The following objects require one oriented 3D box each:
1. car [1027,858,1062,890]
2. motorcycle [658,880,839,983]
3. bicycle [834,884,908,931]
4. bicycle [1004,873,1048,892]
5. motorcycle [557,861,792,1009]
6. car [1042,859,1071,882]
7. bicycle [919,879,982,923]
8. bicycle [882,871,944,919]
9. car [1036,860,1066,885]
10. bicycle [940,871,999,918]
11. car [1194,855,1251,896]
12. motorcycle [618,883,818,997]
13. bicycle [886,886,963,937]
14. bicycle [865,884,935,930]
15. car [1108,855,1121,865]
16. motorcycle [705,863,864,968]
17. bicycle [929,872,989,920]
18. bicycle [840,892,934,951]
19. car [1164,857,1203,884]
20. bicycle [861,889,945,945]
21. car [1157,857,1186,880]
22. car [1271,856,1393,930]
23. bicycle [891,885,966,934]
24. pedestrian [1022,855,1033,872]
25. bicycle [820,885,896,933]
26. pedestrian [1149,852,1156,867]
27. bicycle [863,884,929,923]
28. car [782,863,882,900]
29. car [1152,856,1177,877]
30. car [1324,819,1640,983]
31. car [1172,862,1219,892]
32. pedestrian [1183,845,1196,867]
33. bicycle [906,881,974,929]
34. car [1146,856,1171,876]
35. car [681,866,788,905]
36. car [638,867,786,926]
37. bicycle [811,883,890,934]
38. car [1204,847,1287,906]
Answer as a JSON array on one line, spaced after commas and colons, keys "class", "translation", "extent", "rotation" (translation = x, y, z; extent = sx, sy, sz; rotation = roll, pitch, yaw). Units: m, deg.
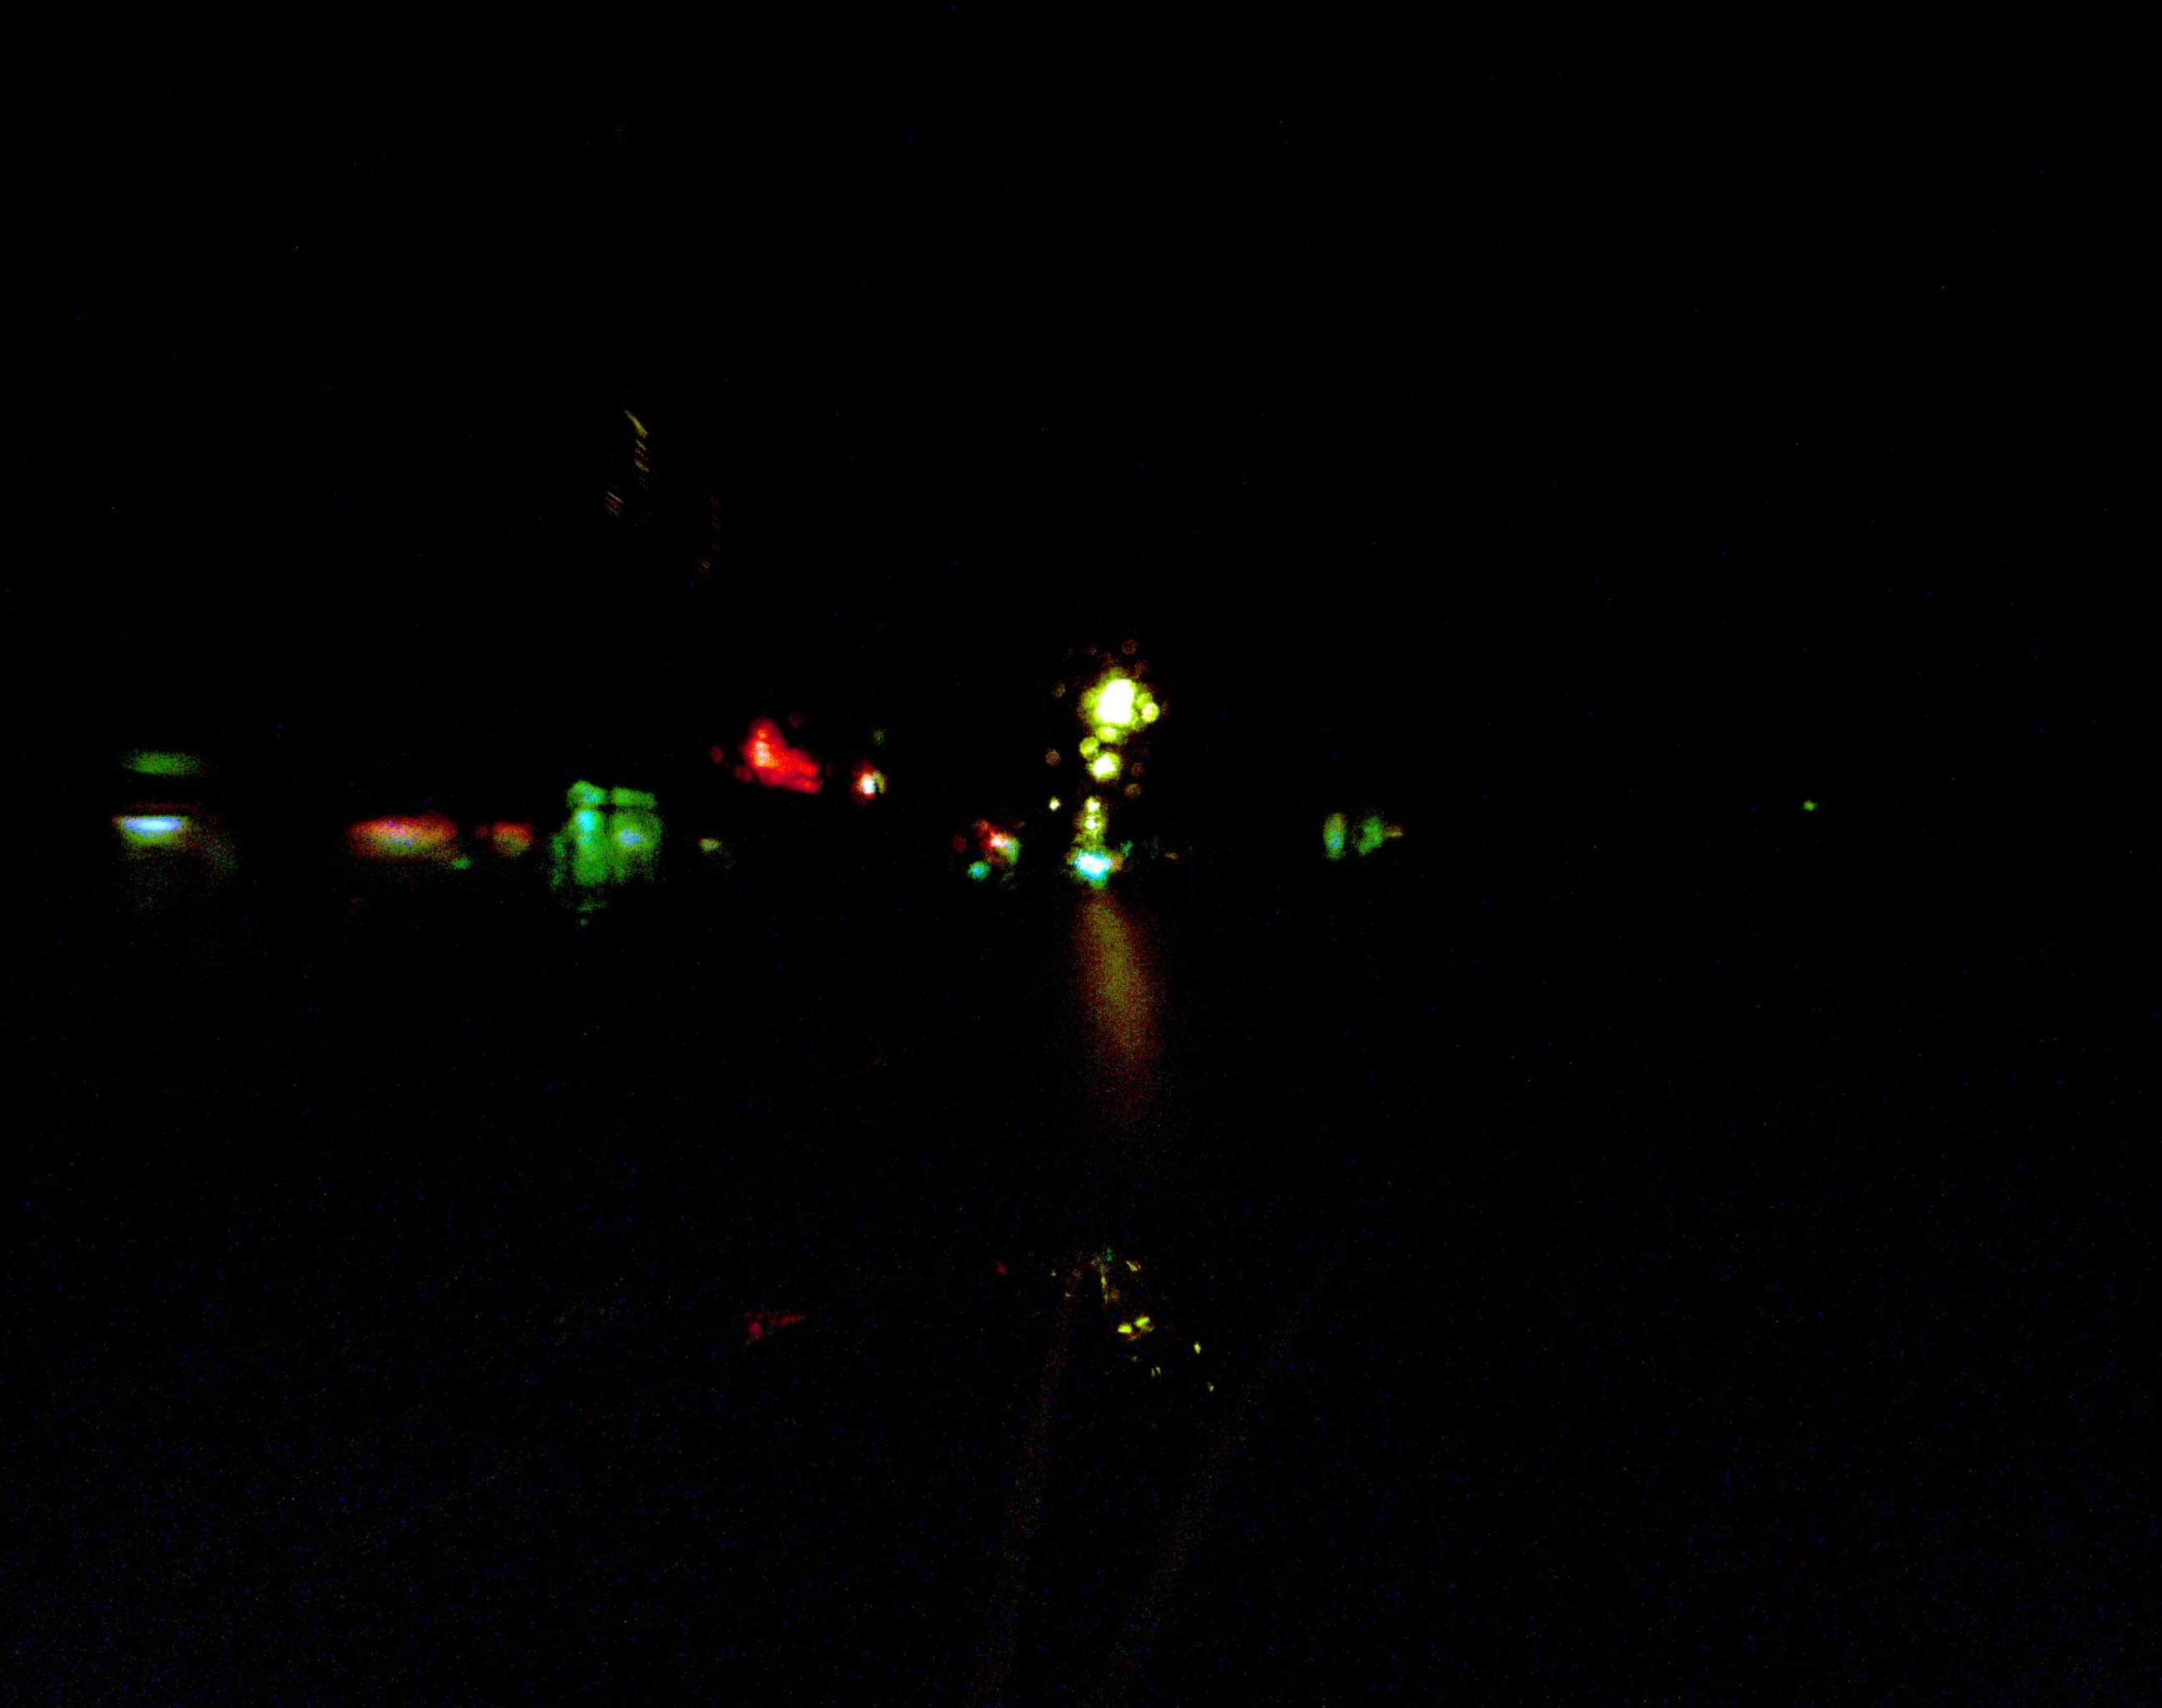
[{"class": "car", "translation": [-2.047, 1.115, 43.295], "extent": [1.676, 1.712, 3.857], "rotation": [-1, 0, 1]}, {"class": "motorcycle", "translation": [-4.750, 1.090, 10.971], "extent": [2.178, 1.311, 0.867], "rotation": [3, 1, 0]}, {"class": "bicycle", "translation": [-4.817, 1.231, 17.468], "extent": [1.533, 0.947, 0.366], "rotation": [4, 1, -3]}, {"class": "bicycle", "translation": [-2.768, 1.416, 38.141], "extent": [2.267, 0.889, 0.619], "rotation": [-1, 0, 30]}, {"class": "motorcycle", "translation": [-4.805, 0.924, 9.095], "extent": [2.294, 1.579, 0.867], "rotation": [3, 1, 0]}, {"class": "car", "translation": [-1.700, 1.156, 54.771], "extent": [1.846, 1.498, 4.162], "rotation": [-1, 0, 1]}, {"class": "bicycle", "translation": [-3.424, 1.240, 20.022], "extent": [1.532, 1.018, 0.366], "rotation": [4, 1, -1]}, {"class": "bicycle", "translation": [-4.560, 1.114, 20.685], "extent": [1.532, 1.195, 0.366], "rotation": [4, 1, -1]}, {"class": "car", "translation": [-1.914, 1.151, 49.415], "extent": [1.689, 1.498, 4.162], "rotation": [-1, 0, 1]}, {"class": "bicycle", "translation": [-3.161, 1.157, 21.600], "extent": [1.532, 1.195, 0.366], "rotation": [4, 1, 3]}, {"class": "car", "translation": [5.828, 0.857, 31.699], "extent": [1.731, 1.565, 3.720], "rotation": [-2, 0, 1]}, {"class": "motorcycle", "translation": [-4.737, 1.101, 10.039], "extent": [2.178, 1.311, 0.867], "rotation": [3, 1, 0]}, {"class": "bicycle", "translation": [-3.365, 1.236, 16.396], "extent": [1.533, 0.947, 0.366], "rotation": [4, 1, -3]}, {"class": "bicycle", "translation": [-4.354, 1.272, 18.281], "extent": [1.532, 0.947, 0.366], "rotation": [4, 1, 5]}, {"class": "car", "translation": [5.248, 0.926, 118.152], "extent": [1.877, 1.386, 4.075], "rotation": [-2, -1, 4]}, {"class": "motorcycle", "translation": [-4.761, 0.972, 12.306], "extent": [2.178, 1.538, 0.867], "rotation": [3, 1, 0]}, {"class": "bicycle", "translation": [-3.392, 1.174, 21.152], "extent": [1.532, 1.195, 0.366], "rotation": [4, 1, -1]}, {"class": "bicycle", "translation": [-3.681, 1.265, 14.432], "extent": [1.672, 0.947, 0.366], "rotation": [4, 1, 8]}, {"class": "car", "translation": [5.913, 0.951, 44.315], "extent": [1.731, 1.445, 4.273], "rotation": [-2, 0, 1]}, {"class": "bicycle", "translation": [-3.535, 1.235, 15.079], "extent": [1.531, 0.947, 0.366], "rotation": [4, 1, 8]}, {"class": "car", "translation": [5.917, 0.949, 49.959], "extent": [1.531, 1.445, 3.384], "rotation": [-2, 0, 1]}, {"class": "car", "translation": [5.511, 0.791, 17.136], "extent": [1.573, 1.451, 3.720], "rotation": [-2, 0, 1]}, {"class": "bicycle", "translation": [-3.364, 1.217, 16.825], "extent": [1.533, 0.947, 0.366], "rotation": [4, 1, -3]}, {"class": "pedestrian", "translation": [-5.332, 0.918, 76.011], "extent": [1.007, 1.698, 0.614], "rotation": [-1, 0, 1]}, {"class": "bicycle", "translation": [-4.987, 1.227, 17.034], "extent": [1.533, 0.947, 0.366], "rotation": [4, 1, -4]}, {"class": "pedestrian", "translation": [9.822, 0.797, 104.392], "extent": [0.776, 2.002, 0.587], "rotation": [-4, 1, 1]}, {"class": "bicycle", "translation": [-4.672, 1.246, 19.185], "extent": [1.532, 0.829, 0.325], "rotation": [4, 1, 5]}, {"class": "car", "translation": [-11.619, 1.259, 35.627], "extent": [3.996, 1.476, 1.895], "rotation": [-3, 0, 2]}, {"class": "car", "translation": [6.133, 0.962, 56.140], "extent": [1.696, 1.470, 3.386], "rotation": [-2, -1, 5]}, {"class": "car", "translation": [5.408, 0.555, 11.270], "extent": [2.001, 1.818, 5.207], "rotation": [-2, 0, 1]}, {"class": "car", "translation": [5.729, 1.121, 38.436], "extent": [1.731, 1.384, 4.555], "rotation": [-2, 0, 1]}, {"class": "pedestrian", "translation": [9.111, 0.199, 63.739], "extent": [0.912, 1.777, 0.629], "rotation": [-4, 1, 2]}, {"class": "bicycle", "translation": [-3.473, 1.249, 18.716], "extent": [1.532, 1.018, 0.366], "rotation": [4, 1, 5]}, {"class": "car", "translation": [6.114, 0.977, 60.171], "extent": [1.697, 1.470, 3.964], "rotation": [-2, -1, 2]}, {"class": "car", "translation": [-16.163, 1.438, 35.583], "extent": [3.996, 1.499, 2.000], "rotation": [-4, 0, 2]}, {"class": "car", "translation": [-12.756, 1.452, 26.440], "extent": [4.155, 1.760, 1.843], "rotation": [-3, 0, 2]}, {"class": "bicycle", "translation": [-4.947, 1.172, 16.359], "extent": [1.533, 0.947, 0.366], "rotation": [4, 1, -3]}, {"class": "car", "translation": [5.582, 0.715, 26.424], "extent": [1.907, 1.818, 4.829], "rotation": [-2, 0, 1]}]
